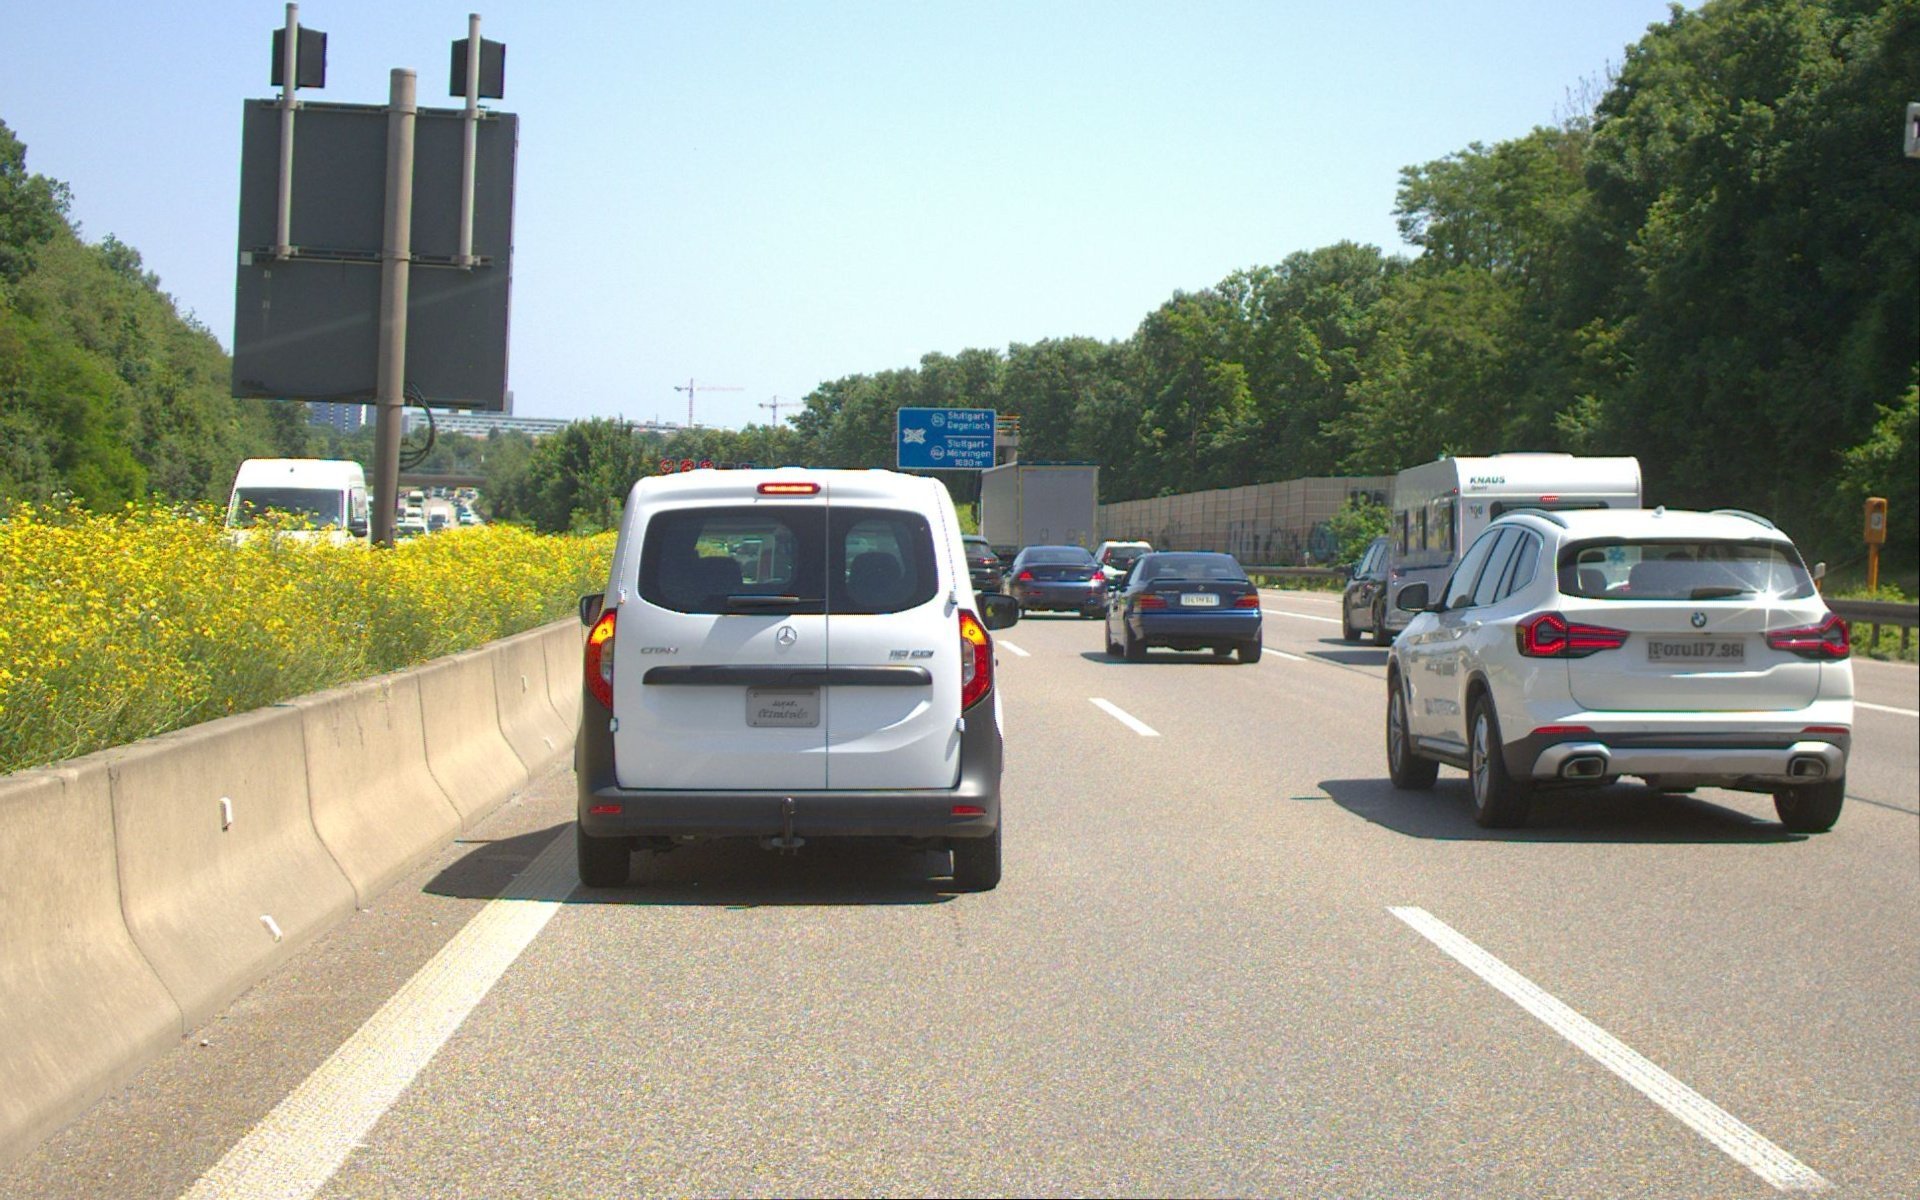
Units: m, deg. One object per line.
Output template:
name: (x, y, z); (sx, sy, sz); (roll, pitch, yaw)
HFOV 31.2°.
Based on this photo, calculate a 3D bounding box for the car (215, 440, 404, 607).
car: (-10.446, -1.229, 55.598); (1.993, 2.533, 5.909); (1, 1, -1)

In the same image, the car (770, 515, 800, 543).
car: (-12.612, -5.137, 248.391); (1.993, 2.007, 4.000); (1, 1, -1)

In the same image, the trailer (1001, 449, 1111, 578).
trailer: (3.045, -2.806, 112.459); (3.082, 3.972, 10.324); (1, 1, -1)

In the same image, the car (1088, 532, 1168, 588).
car: (4.399, -1.079, 90.595); (1.824, 1.419, 4.000); (1, 1, -1)

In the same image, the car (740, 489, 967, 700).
car: (-0.981, -0.093, 32.643); (1.993, 1.853, 4.000); (1, 1, -1)

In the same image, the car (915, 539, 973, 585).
car: (-0.531, -1.238, 110.716); (1.824, 1.442, 4.000); (1, 1, -1)

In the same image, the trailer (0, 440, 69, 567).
trailer: (-23.989, -2.365, 84.613); (2.406, 2.995, 7.460); (1, 1, -2)

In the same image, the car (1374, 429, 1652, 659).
car: (7.080, -0.748, 44.817); (2.479, 2.756, 6.220); (1, 1, -1)

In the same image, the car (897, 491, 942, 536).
car: (-1.850, -3.908, 155.358); (1.993, 2.007, 4.000); (1, 1, -1)

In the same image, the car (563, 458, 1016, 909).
car: (-0.745, 0.295, 15.878); (1.802, 1.802, 4.001); (1, 1, -2)

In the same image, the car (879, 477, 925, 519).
car: (-2.875, -4.987, 169.039); (1.993, 2.007, 4.001); (1, 1, -5)

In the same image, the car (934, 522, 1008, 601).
car: (0.258, -1.011, 89.439); (1.824, 1.982, 4.000); (1, 1, -1)

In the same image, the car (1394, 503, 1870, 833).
car: (3.561, 0.297, 18.910); (1.871, 1.603, 3.879); (1, 1, 1)

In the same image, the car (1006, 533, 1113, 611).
car: (1.866, -0.557, 65.541); (1.824, 1.419, 4.000); (1, 1, -1)

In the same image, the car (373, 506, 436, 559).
car: (-21.862, -2.664, 135.427); (1.993, 2.007, 4.001); (1, 1, -3)

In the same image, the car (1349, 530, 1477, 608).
car: (8.635, -0.609, 65.791); (1.824, 1.419, 4.000); (1, 1, -1)

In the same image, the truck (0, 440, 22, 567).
truck: (-23.802, -2.252, 79.556); (2.406, 2.995, 7.460); (1, 1, -2)

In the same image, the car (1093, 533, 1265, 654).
car: (2.708, -0.119, 43.269); (1.824, 1.419, 4.000); (1, 1, -1)
